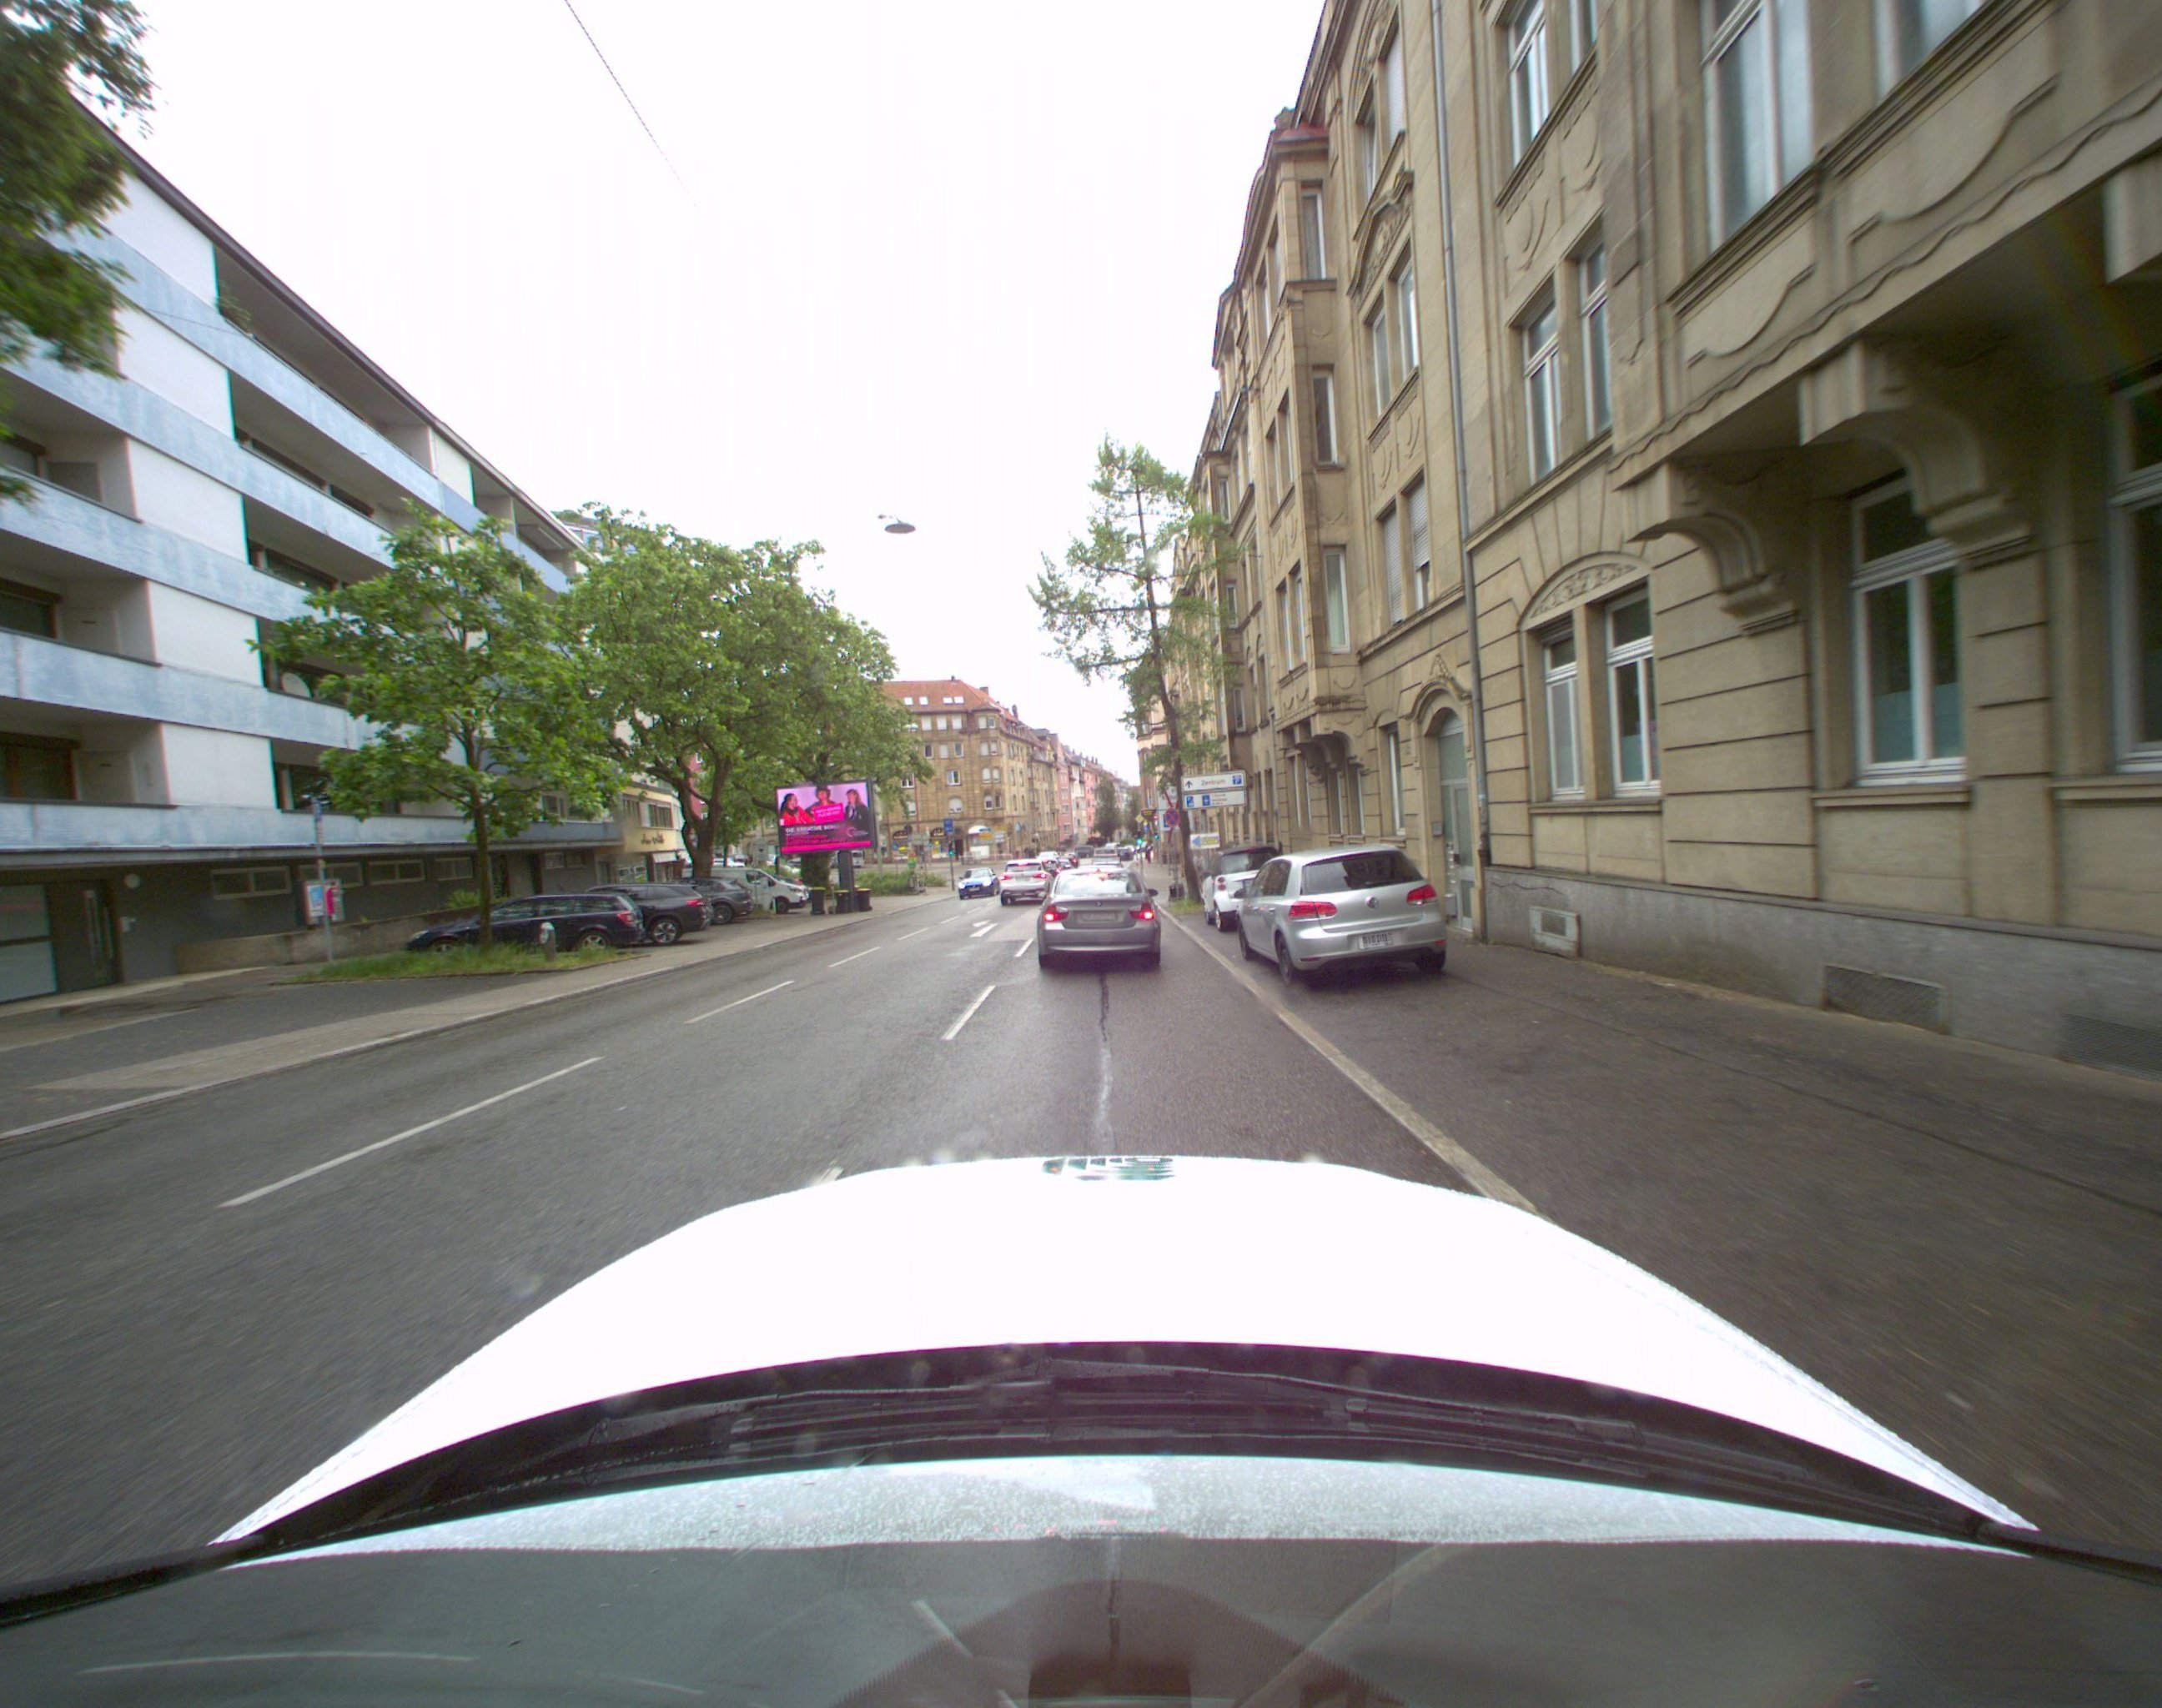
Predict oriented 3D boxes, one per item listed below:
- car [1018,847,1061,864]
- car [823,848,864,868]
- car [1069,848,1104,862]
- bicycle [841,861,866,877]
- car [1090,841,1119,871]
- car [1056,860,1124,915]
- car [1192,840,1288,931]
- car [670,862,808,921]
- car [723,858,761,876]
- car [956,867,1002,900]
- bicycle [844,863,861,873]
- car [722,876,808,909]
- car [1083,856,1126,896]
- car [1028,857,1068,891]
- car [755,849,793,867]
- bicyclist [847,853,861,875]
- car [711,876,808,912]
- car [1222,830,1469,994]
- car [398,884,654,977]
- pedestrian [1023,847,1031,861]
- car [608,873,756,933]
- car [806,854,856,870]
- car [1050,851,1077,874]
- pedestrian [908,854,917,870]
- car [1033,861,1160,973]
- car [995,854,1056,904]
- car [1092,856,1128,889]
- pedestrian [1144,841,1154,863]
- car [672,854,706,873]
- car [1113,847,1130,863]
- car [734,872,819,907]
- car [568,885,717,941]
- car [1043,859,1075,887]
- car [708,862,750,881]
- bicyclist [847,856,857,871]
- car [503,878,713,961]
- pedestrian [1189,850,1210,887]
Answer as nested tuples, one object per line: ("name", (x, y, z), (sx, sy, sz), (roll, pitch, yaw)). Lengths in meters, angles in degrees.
("car", (-3.848, 0.158, 76.191), (1.974, 1.578, 4.025), (-1, -1, 34))
("car", (-26.621, 0.457, 91.361), (4.237, 2.101, 2.013), (0, 2, 30))
("car", (0.851, 0.194, 124.293), (5.158, 2.014, 2.699), (0, -1, 1))
("bicycle", (-20.145, 1.311, 72.201), (0.665, 1.320, 2.290), (-5, 0, 29))
("car", (1.733, 0.165, 59.023), (1.986, 2.106, 4.001), (-2, -1, 2))
("car", (0.336, 0.906, 23.652), (1.752, 1.383, 4.003), (-2, 0, 3))
("car", (3.174, 0.601, 16.714), (1.294, 1.543, 2.977), (-7, 0, 1))
("car", (-14.077, 1.514, 33.885), (5.076, 2.105, 1.979), (-3, -1, -19))
("car", (-41.543, 1.559, 99.732), (4.237, 2.101, 2.013), (0, 2, 30))
("car", (-5.107, 1.445, 41.331), (1.709, 1.450, 3.743), (-3, 0, 1))
("bicycle", (-20.186, 1.201, 72.072), (0.568, 0.858, 1.531), (-1, -1, 25))
("car", (-16.040, 1.932, 41.553), (3.984, 1.450, 1.758), (-3, -1, -19))
("car", (0.980, 0.837, 32.410), (1.588, 1.464, 4.003), (-1, 0, 3))
("car", (-1.741, 1.049, 44.129), (1.752, 1.708, 4.003), (-2, 0, 3))
("car", (-36.669, 0.464, 97.264), (4.237, 2.101, 2.013), (0, 2, 30))
("bicyclist", (-20.133, 0.884, 72.253), (0.775, 1.821, 0.775), (-5, -1, 27))
("car", (-15.318, 1.879, 39.020), (4.184, 1.456, 1.782), (-3, -1, -19))
("car", (3.030, 0.596, 10.266), (1.753, 1.451, 4.001), (-7, 0, 1))
("car", (-12.340, 1.640, 18.495), (4.373, 1.574, 1.930), (-4, 0, -21))
("pedestrian", (-6.303, 0.042, 95.119), (0.727, 1.577, 0.530), (-3, 0, 10))
("car", (-13.889, 1.674, 28.647), (4.370, 1.784, 1.927), (-3, -1, -19))
("car", (-26.789, 0.875, 87.353), (4.612, 1.579, 2.005), (-1, -1, 8))
("car", (-1.317, 0.636, 63.912), (1.752, 1.708, 4.003), (-2, 0, 3))
("pedestrian", (-17.155, 0.776, 83.020), (0.532, 1.577, 0.723), (-4, -1, 18))
("car", (0.300, 0.847, 12.494), (1.617, 1.383, 3.618), (-2, 0, 3))
("car", (-2.038, 0.883, 31.058), (1.861, 1.625, 4.001), (-4, 0, 1))
("car", (1.483, 0.930, 42.550), (1.753, 1.567, 4.001), (-2, 0, 1))
("pedestrian", (5.978, -0.196, 72.009), (0.740, 1.910, 0.659), (-3, 0, 1))
("car", (-44.073, 1.075, 91.481), (3.948, 2.013, 1.587), (-2, 0, 33))
("car", (4.245, 0.150, 84.908), (1.717, 1.552, 4.004), (0, -1, 4))
("car", (-16.433, 1.898, 44.023), (4.139, 1.653, 1.756), (-3, -1, -22))
("car", (-13.677, 1.808, 25.689), (3.939, 1.430, 1.734), (-3, -1, -24))
("car", (-1.405, 1.247, 54.198), (1.752, 1.708, 4.003), (-2, 0, 3))
("car", (-37.833, 1.883, 87.482), (4.195, 1.726, 2.013), (-2, 2, 31))
("bicyclist", (-20.232, 0.820, 71.983), (0.563, 1.273, 0.693), (-1, -1, 26))
("car", (-12.127, 1.629, 21.227), (4.382, 1.672, 1.842), (-4, 0, -21))
("pedestrian", (5.040, 0.619, 34.772), (0.629, 1.508, 0.693), (-7, -1, 1))
